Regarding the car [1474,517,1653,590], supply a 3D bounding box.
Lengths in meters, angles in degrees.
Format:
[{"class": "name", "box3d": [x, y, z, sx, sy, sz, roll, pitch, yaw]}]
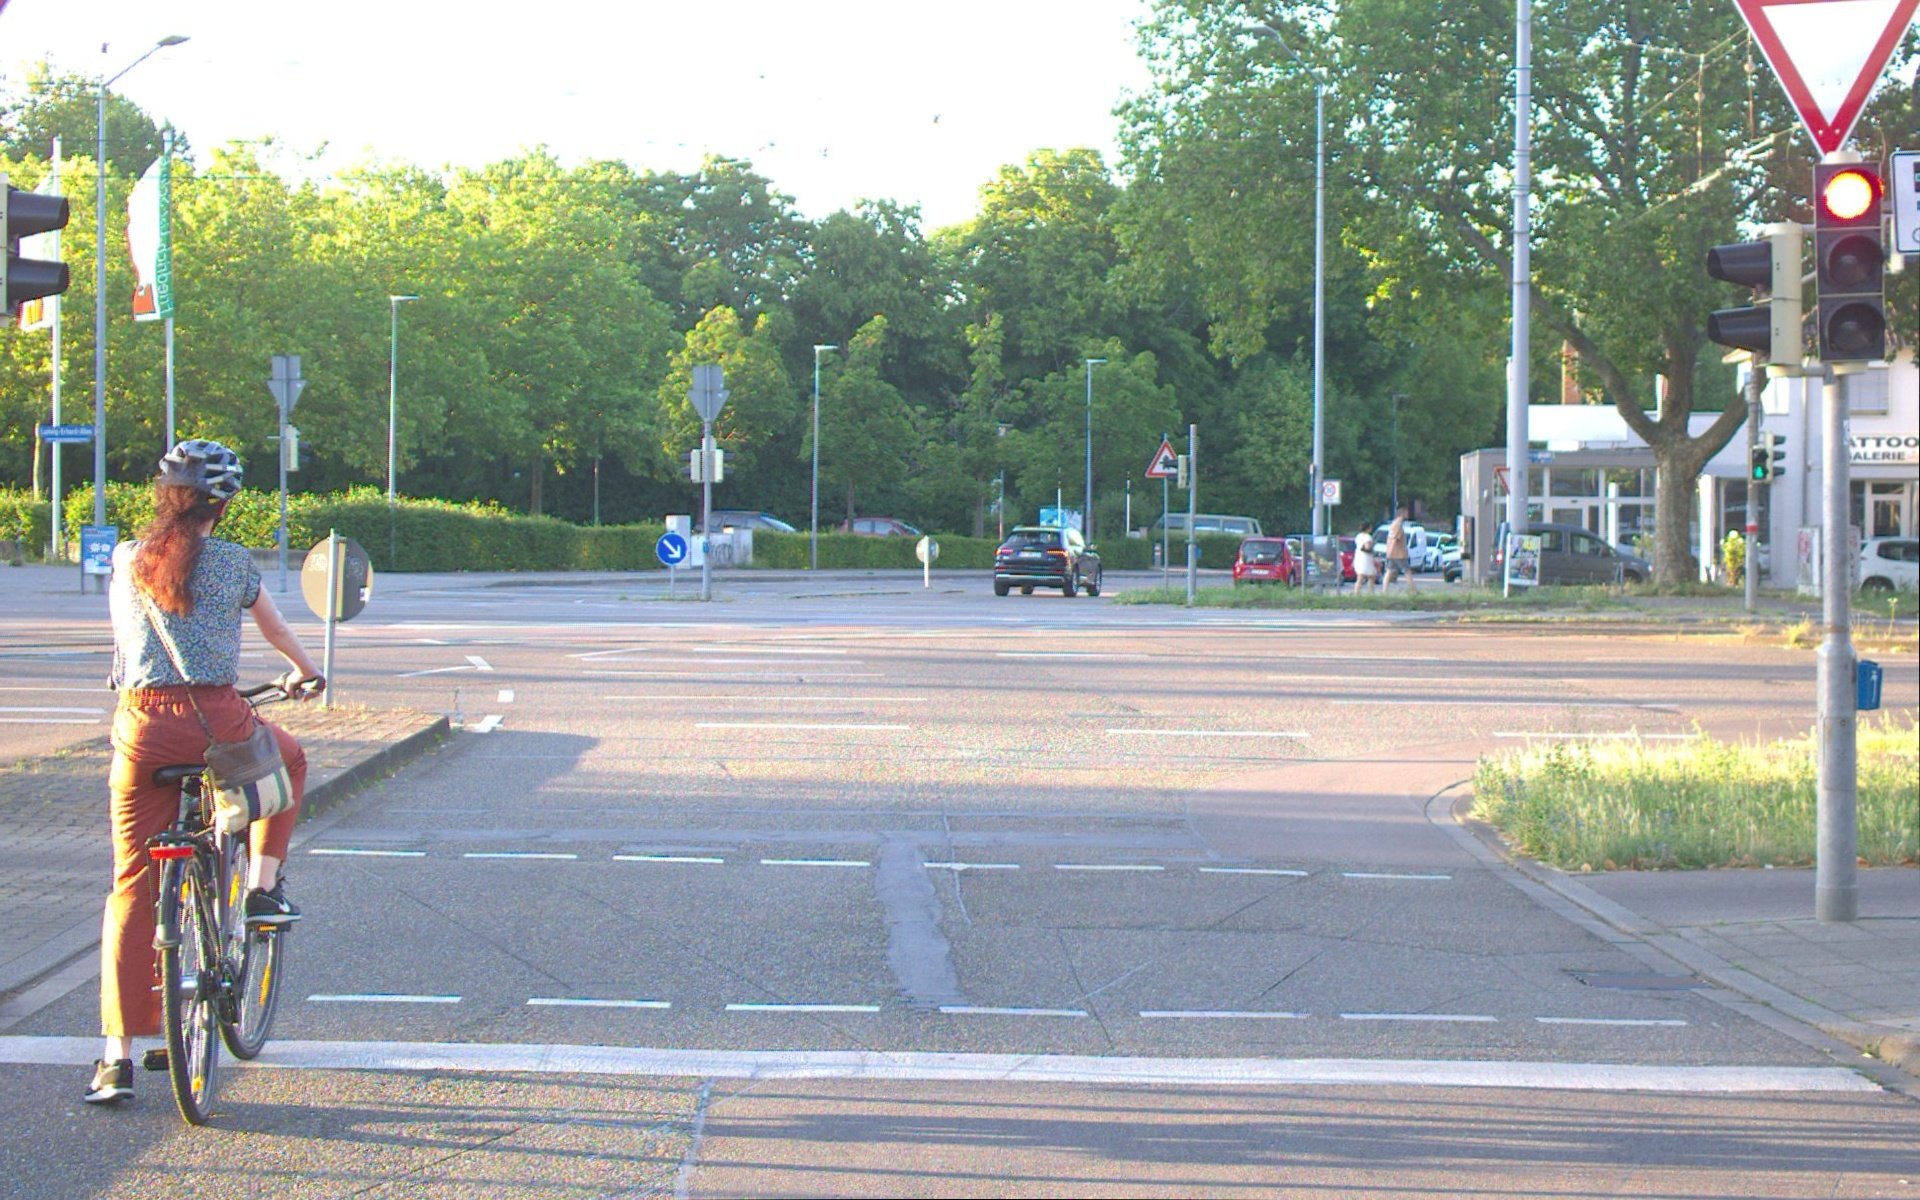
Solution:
[{"class": "car", "box3d": [15.579, -1.211, 88.976, 4.378, 1.828, 1.949, 1, 1, 5]}]

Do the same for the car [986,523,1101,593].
[{"class": "car", "box3d": [1.924, -0.934, 78.056, 1.756, 1.535, 4.398, 1, 0, 13]}]

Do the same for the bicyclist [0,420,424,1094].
[{"class": "bicyclist", "box3d": [-2.042, 0.391, 9.278, 1.031, 1.712, 0.996, 1, 1, -1]}]

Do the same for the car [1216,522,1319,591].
[{"class": "car", "box3d": [8.589, -1.227, 95.713, 1.870, 1.868, 3.870, 1, 2, 21]}]

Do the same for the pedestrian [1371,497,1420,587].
[{"class": "pedestrian", "box3d": [8.591, -1.148, 67.804, 0.719, 1.748, 0.896, 1, 1, 24]}]

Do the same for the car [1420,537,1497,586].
[{"class": "car", "box3d": [16.761, -1.311, 115.473, 1.916, 1.597, 3.997, 1, 2, 17]}]

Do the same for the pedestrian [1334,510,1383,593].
[{"class": "pedestrian", "box3d": [7.898, -0.961, 68.137, 0.719, 1.633, 0.896, 1, 1, 24]}]

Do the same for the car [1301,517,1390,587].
[{"class": "car", "box3d": [11.602, -1.472, 103.325, 1.916, 2.040, 3.997, 1, 2, 17]}]

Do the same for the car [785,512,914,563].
[{"class": "car", "box3d": [-3.494, -2.007, 109.524, 3.987, 1.555, 2.000, 1, 1, 1]}]

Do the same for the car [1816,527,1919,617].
[{"class": "car", "box3d": [20.393, -0.581, 72.405, 4.230, 1.840, 2.000, 1, 1, 2]}]

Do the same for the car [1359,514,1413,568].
[{"class": "car", "box3d": [16.228, -2.283, 131.185, 1.994, 2.007, 3.999, 1, 1, 7]}]

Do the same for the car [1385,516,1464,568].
[{"class": "car", "box3d": [18.348, -2.300, 135.752, 1.996, 2.007, 3.995, 1, 2, 24]}]

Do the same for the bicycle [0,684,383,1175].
[{"class": "bicycle", "box3d": [-2.043, 0.815, 9.271, 0.634, 1.064, 2.122, 1, 1, -1]}]
